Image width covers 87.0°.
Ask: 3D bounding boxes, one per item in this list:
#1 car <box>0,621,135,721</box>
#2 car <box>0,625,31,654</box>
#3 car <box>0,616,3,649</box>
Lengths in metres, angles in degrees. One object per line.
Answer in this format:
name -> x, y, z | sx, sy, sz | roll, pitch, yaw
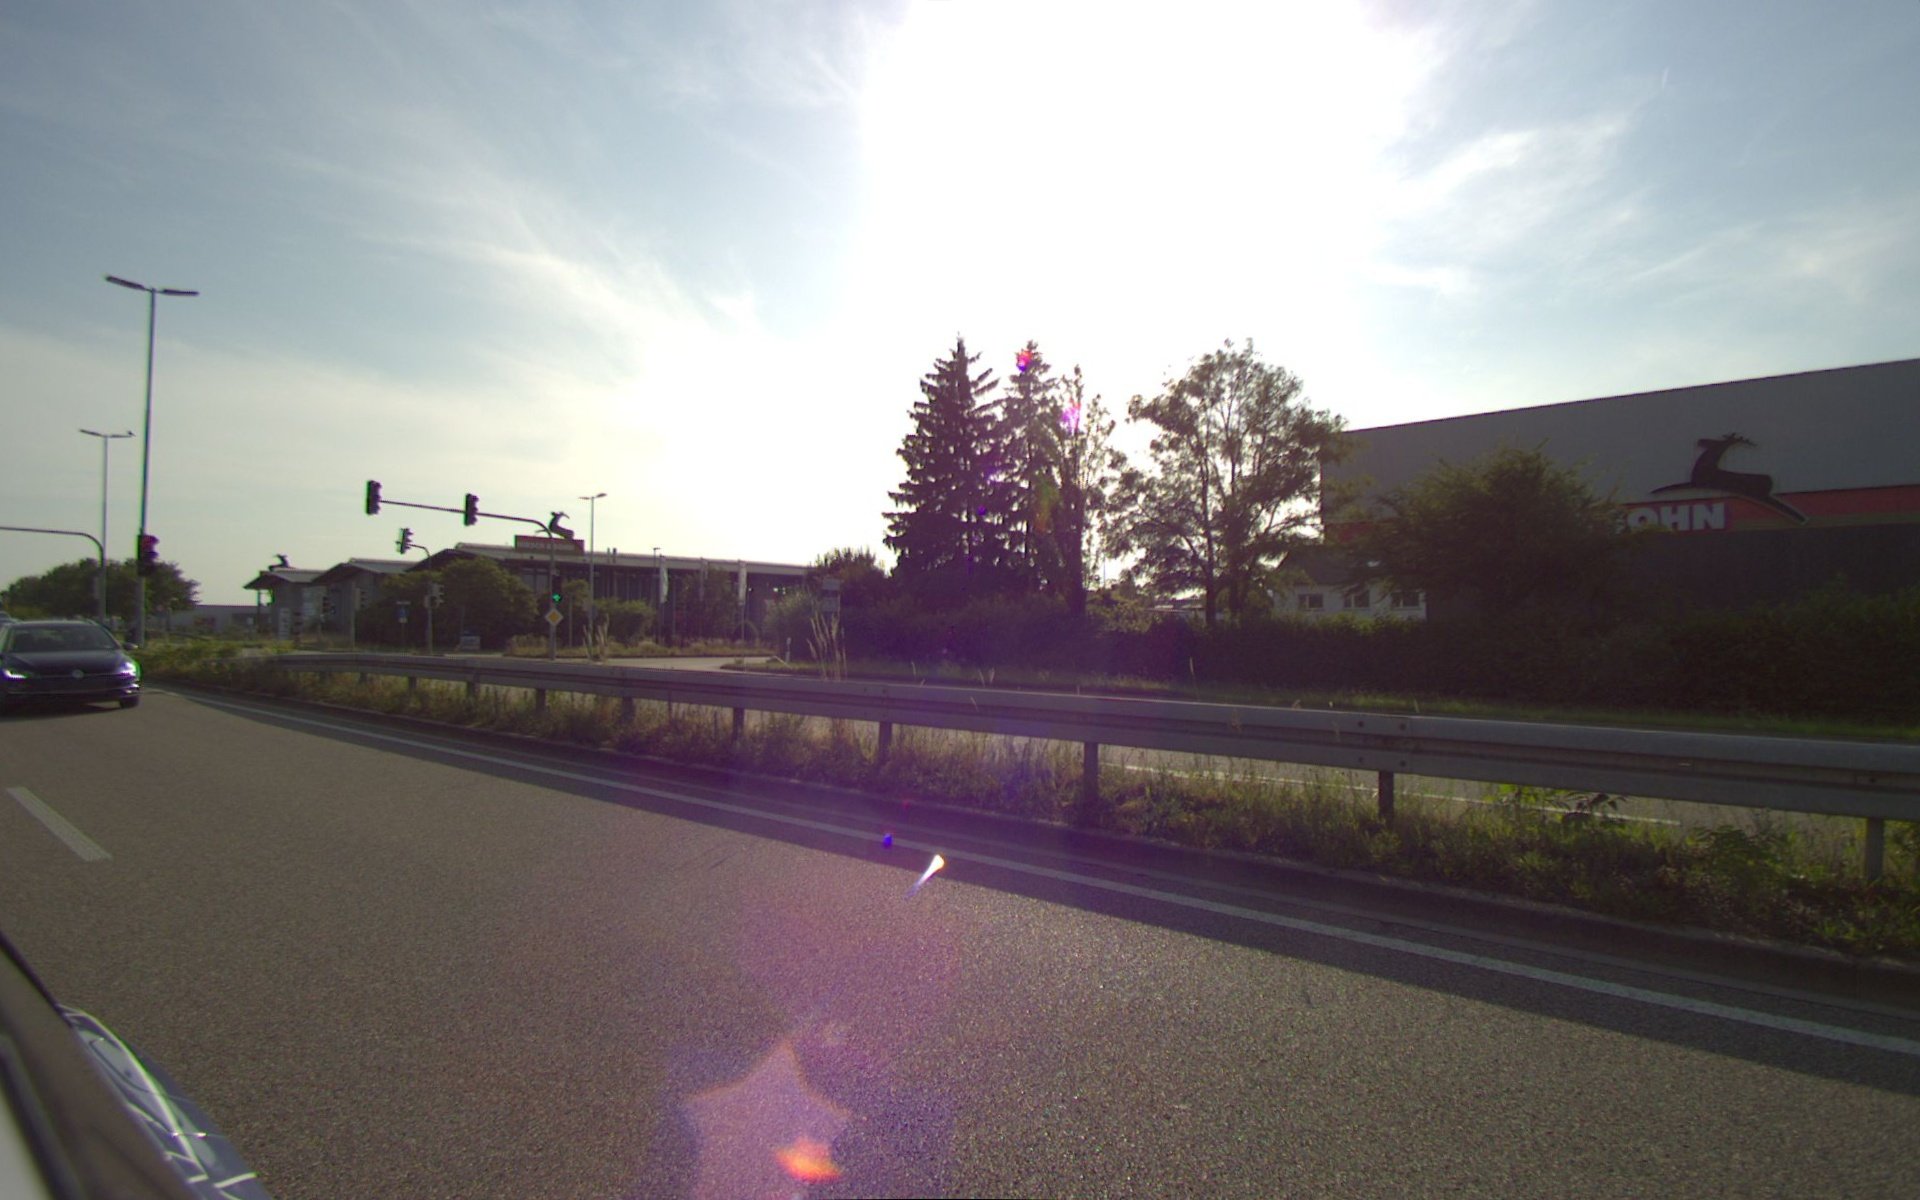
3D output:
car -> -15.527, 1.111, 17.148 | 4.774, 1.482, 1.629 | -1, -2, 41
car -> -50.065, 2.051, 53.021 | 3.563, 1.448, 1.689 | -2, -1, 41
car -> -55.224, 1.855, 56.914 | 4.224, 1.848, 1.629 | -2, -1, 41
